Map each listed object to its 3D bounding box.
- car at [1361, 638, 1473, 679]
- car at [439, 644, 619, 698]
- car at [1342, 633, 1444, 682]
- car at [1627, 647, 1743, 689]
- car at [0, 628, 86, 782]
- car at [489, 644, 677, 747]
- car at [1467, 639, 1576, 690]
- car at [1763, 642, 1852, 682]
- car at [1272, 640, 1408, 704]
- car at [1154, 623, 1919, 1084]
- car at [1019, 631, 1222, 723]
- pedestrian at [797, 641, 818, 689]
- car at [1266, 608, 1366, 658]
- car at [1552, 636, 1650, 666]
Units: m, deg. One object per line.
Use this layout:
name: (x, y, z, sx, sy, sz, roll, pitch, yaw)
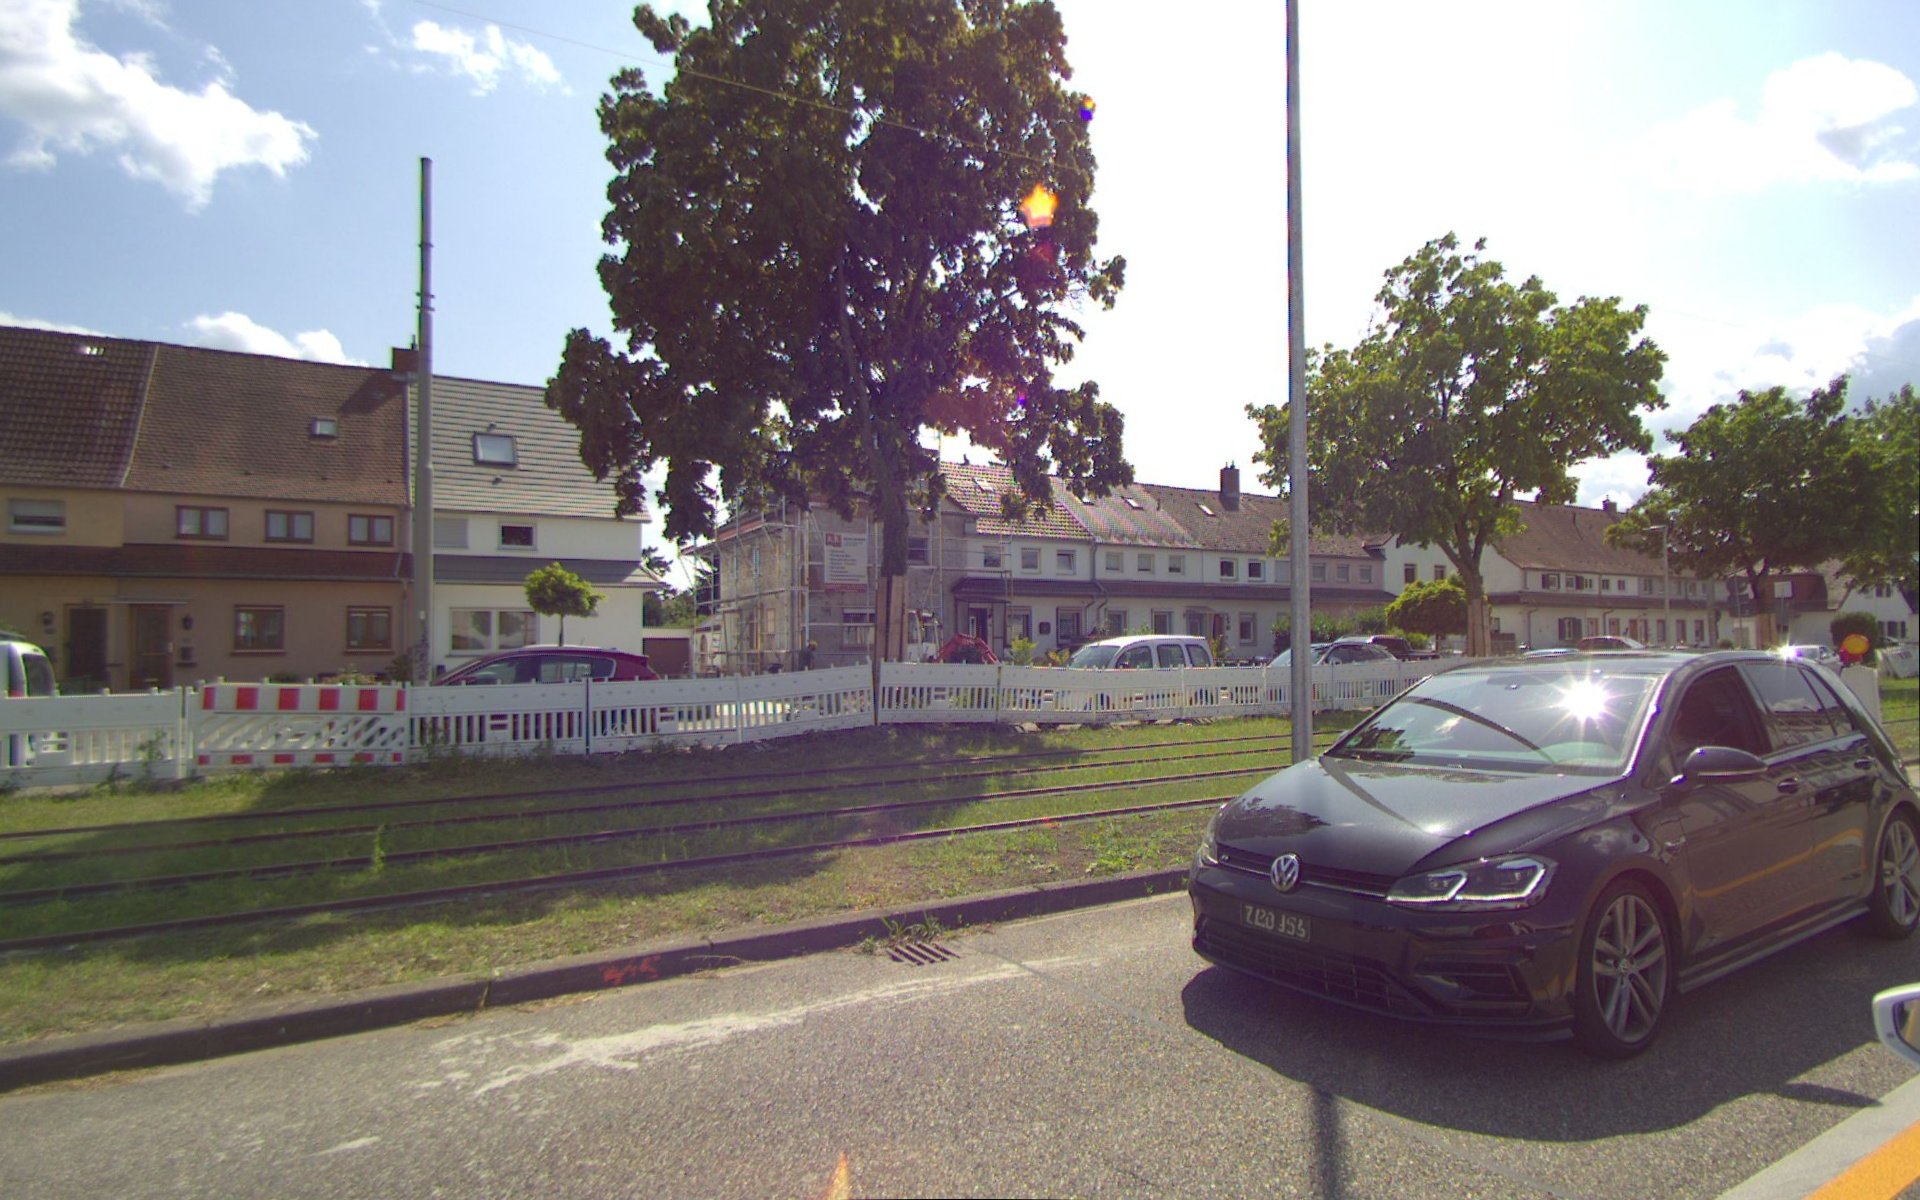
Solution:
car: (20.970, 2.642, 46.258, 1.784, 1.708, 4.370, 2, -2, -40)
car: (-11.013, 1.790, 25.739, 4.072, 1.291, 1.527, 2, -4, -31)
car: (14.088, 1.856, 32.657, 3.272, 1.515, 1.377, 1, -3, -31)
car: (22.264, 2.047, 30.821, 3.704, 1.192, 1.496, 1, -3, -31)
car: (-12.155, 1.134, 10.718, 3.954, 1.646, 1.645, 2, -4, -30)
car: (-5.380, 1.323, 14.356, 2.417, 1.365, 1.069, 1, -4, -27)
car: (15.702, 1.768, 28.075, 3.136, 1.342, 1.333, 1, -3, -33)
car: (31.701, 2.289, 37.535, 4.211, 1.394, 1.530, 1, -4, -36)
car: (8.891, 1.666, 23.467, 3.078, 1.395, 1.344, 2, -4, -30)
car: (2.963, 0.910, 4.884, 3.815, 1.430, 1.685, 2, -5, -31)
car: (3.219, 1.503, 20.034, 3.854, 1.673, 1.615, 2, -4, -30)
pedestrian: (-4.596, 1.949, 30.241, 0.465, 1.394, 0.420, 2, -1, -31)
car: (15.213, 1.417, 42.877, 3.954, 2.040, 1.984, 2, -1, -31)
car: (33.522, 2.685, 52.627, 1.706, 1.529, 3.967, 1, -3, -31)
